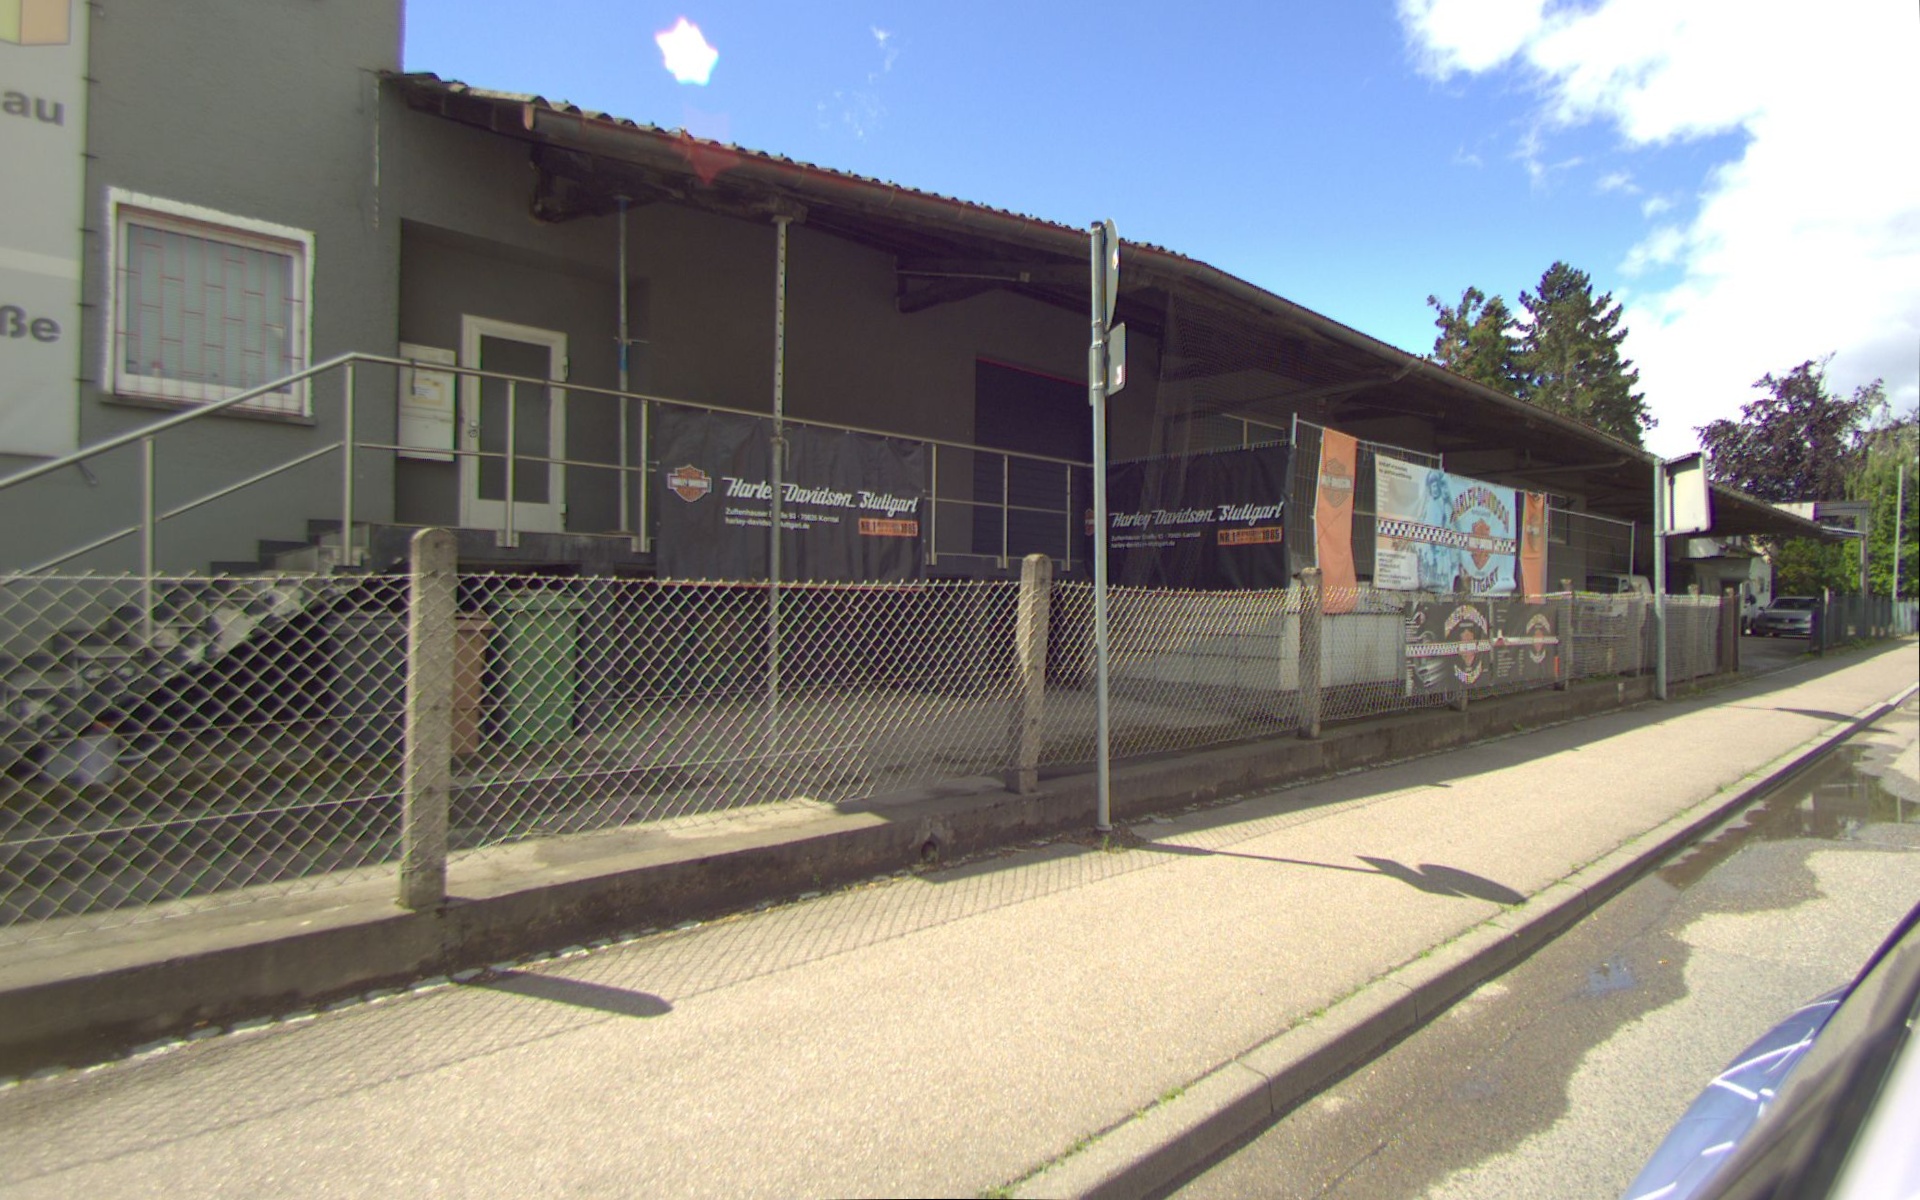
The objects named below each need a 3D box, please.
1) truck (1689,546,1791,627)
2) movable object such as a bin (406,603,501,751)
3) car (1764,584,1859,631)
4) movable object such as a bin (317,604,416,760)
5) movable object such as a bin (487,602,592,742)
[{"bbox_3d":[29.517,-0.520,38.226,5.112,2.864,2.089,-1,0,-41],"label":"truck"},{"bbox_3d":[-3.436,0.496,6.857,0.466,0.942,0.482,0,0,-42],"label":"movable object such as a bin"},{"bbox_3d":[29.864,0.220,35.438,5.114,1.549,1.860,-1,1,-42],"label":"car"},{"bbox_3d":[-3.819,0.502,6.507,0.466,0.942,0.482,0,0,-42],"label":"movable object such as a bin"},{"bbox_3d":[-3.011,0.490,7.249,0.574,0.942,0.482,0,0,-42],"label":"movable object such as a bin"}]
